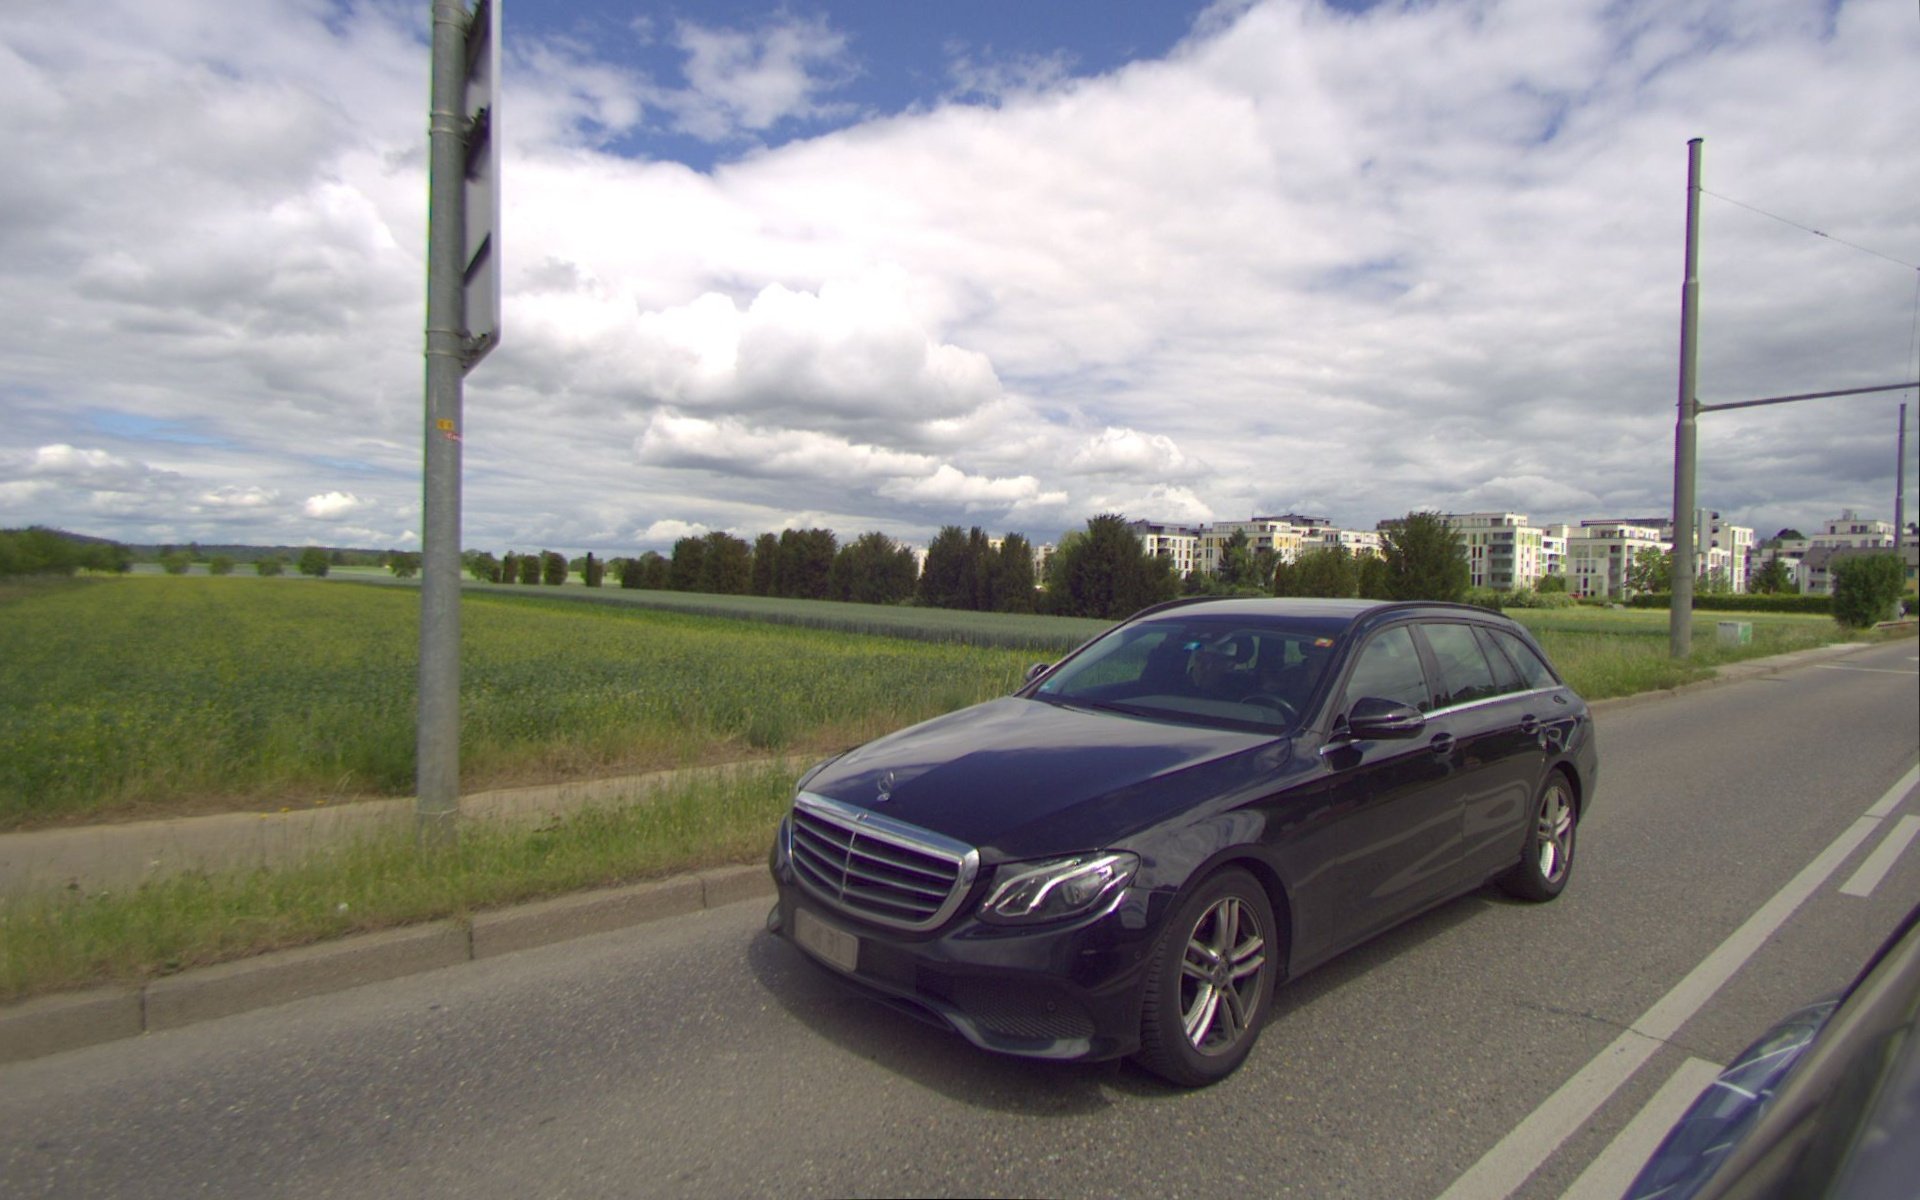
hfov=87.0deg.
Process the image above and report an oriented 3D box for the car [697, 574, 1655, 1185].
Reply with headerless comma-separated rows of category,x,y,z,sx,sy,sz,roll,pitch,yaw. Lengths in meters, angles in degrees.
car,1.517,0.664,4.877,5.110,1.458,1.875,0,2,-42
